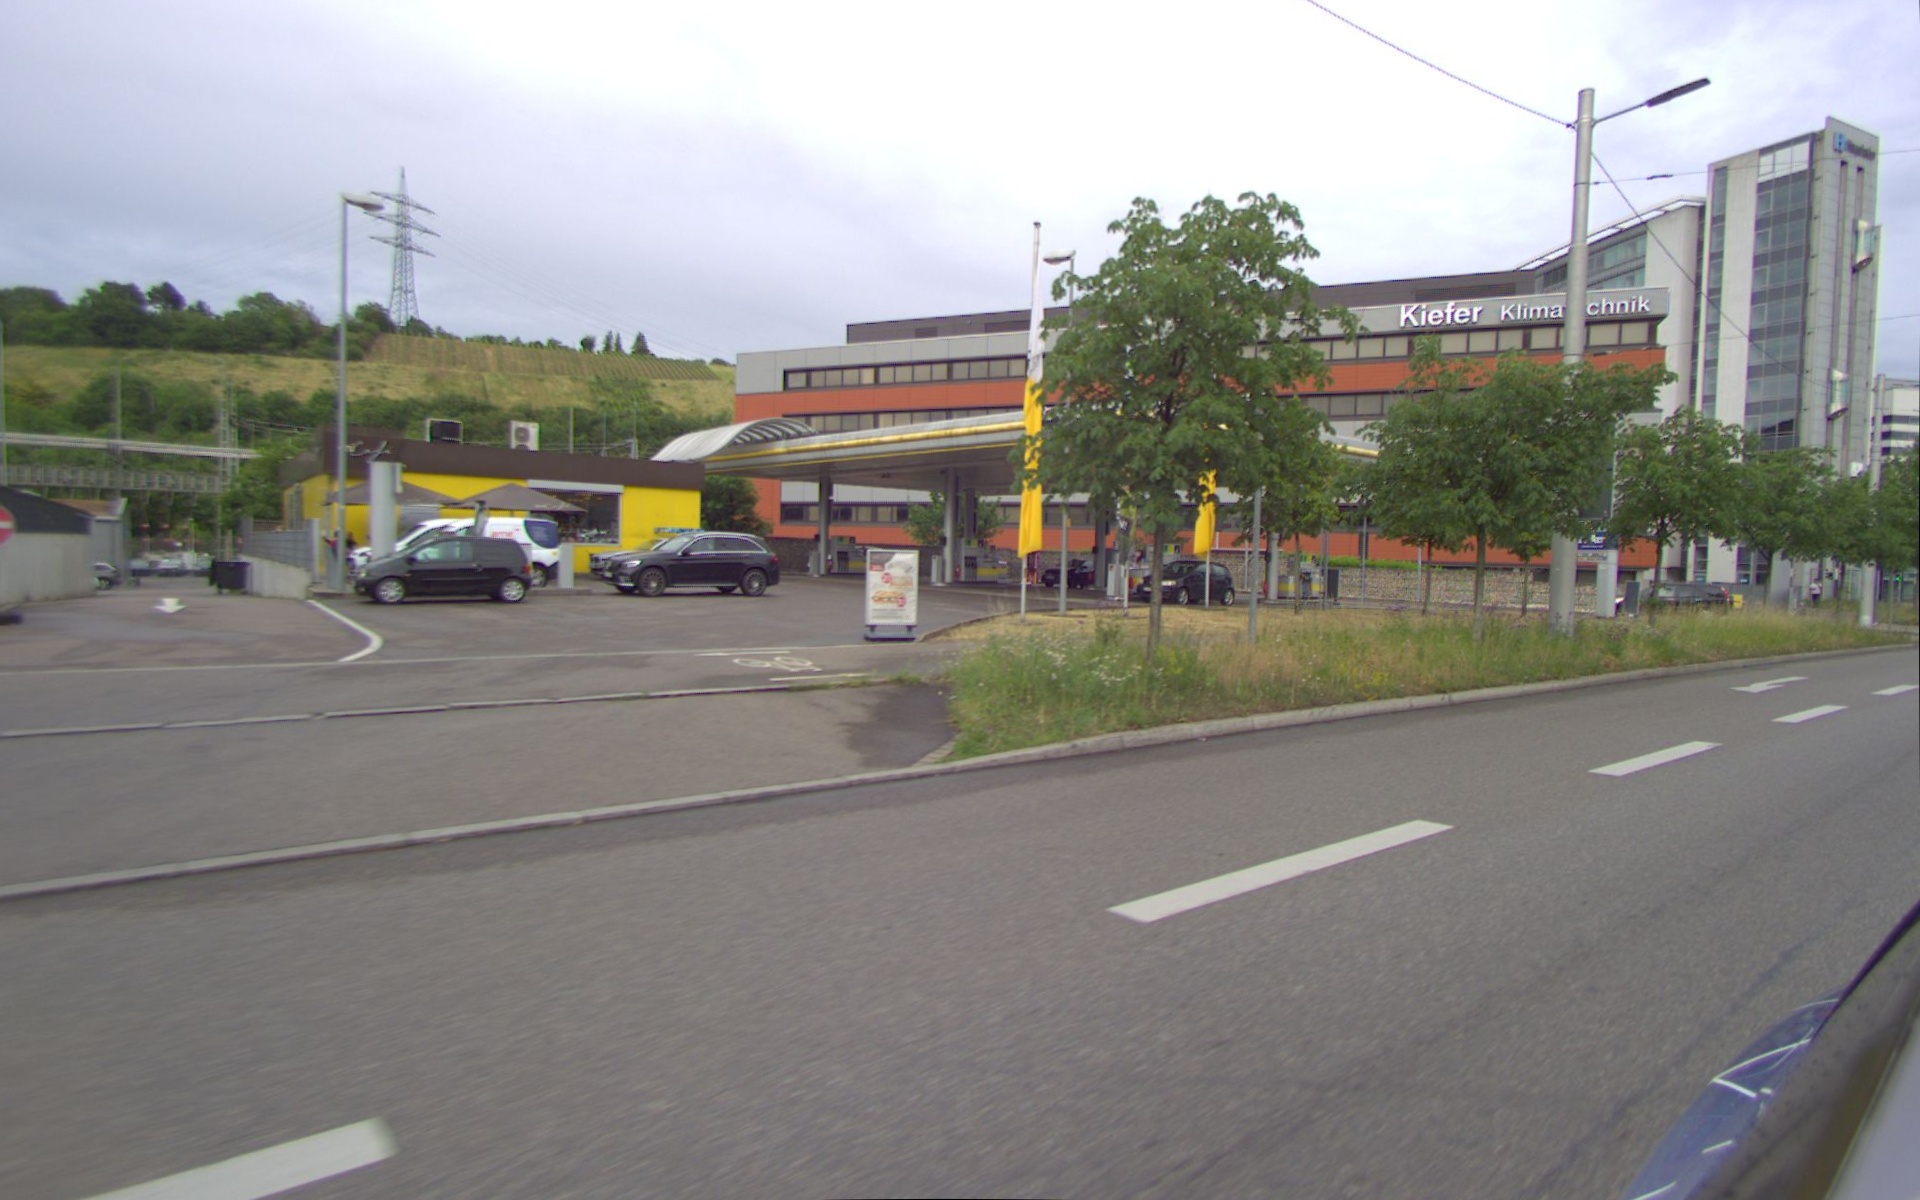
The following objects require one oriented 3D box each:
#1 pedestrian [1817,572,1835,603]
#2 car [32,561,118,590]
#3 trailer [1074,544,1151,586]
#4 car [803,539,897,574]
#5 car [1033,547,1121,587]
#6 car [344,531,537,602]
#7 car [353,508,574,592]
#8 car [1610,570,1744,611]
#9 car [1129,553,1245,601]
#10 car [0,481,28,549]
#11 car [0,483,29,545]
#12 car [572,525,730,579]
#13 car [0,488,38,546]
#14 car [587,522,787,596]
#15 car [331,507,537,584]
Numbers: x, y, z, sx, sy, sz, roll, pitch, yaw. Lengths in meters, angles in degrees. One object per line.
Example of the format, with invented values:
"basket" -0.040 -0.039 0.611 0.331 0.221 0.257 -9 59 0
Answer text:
"pedestrian" 53.658 -0.768 62.679 0.675 1.924 0.673 0 0 26
"car" -53.910 -1.469 61.737 3.930 1.675 1.828 0 1 -41
"trailer" 8.667 -2.000 57.493 3.958 2.172 1.824 3 2 25
"car" -5.702 -2.225 52.768 4.520 1.686 1.997 0 0 -41
"car" 5.618 -1.549 48.313 3.930 1.668 1.903 0 7 -41
"car" -10.854 -0.693 21.225 3.425 1.354 1.396 -1 4 -38
"car" -12.295 -1.217 25.196 4.631 1.882 2.000 0 4 -38
"car" 30.211 -0.381 42.806 4.309 1.667 1.781 0 0 22
"car" 7.503 -0.734 33.364 3.714 1.436 1.784 0 4 -39
"car" -25.581 -2.174 24.361 1.826 1.664 4.277 3 2 26
"car" -27.904 -2.409 26.899 1.825 1.664 4.281 3 2 24
"car" -10.297 -1.586 33.935 4.634 1.628 1.998 0 4 -41
"car" -29.633 -2.493 29.106 1.821 1.664 4.290 3 2 18
"car" -7.078 -1.043 26.492 4.631 1.757 2.000 0 4 -38
"car" -14.181 -1.435 27.426 4.634 1.882 1.998 0 4 -40
